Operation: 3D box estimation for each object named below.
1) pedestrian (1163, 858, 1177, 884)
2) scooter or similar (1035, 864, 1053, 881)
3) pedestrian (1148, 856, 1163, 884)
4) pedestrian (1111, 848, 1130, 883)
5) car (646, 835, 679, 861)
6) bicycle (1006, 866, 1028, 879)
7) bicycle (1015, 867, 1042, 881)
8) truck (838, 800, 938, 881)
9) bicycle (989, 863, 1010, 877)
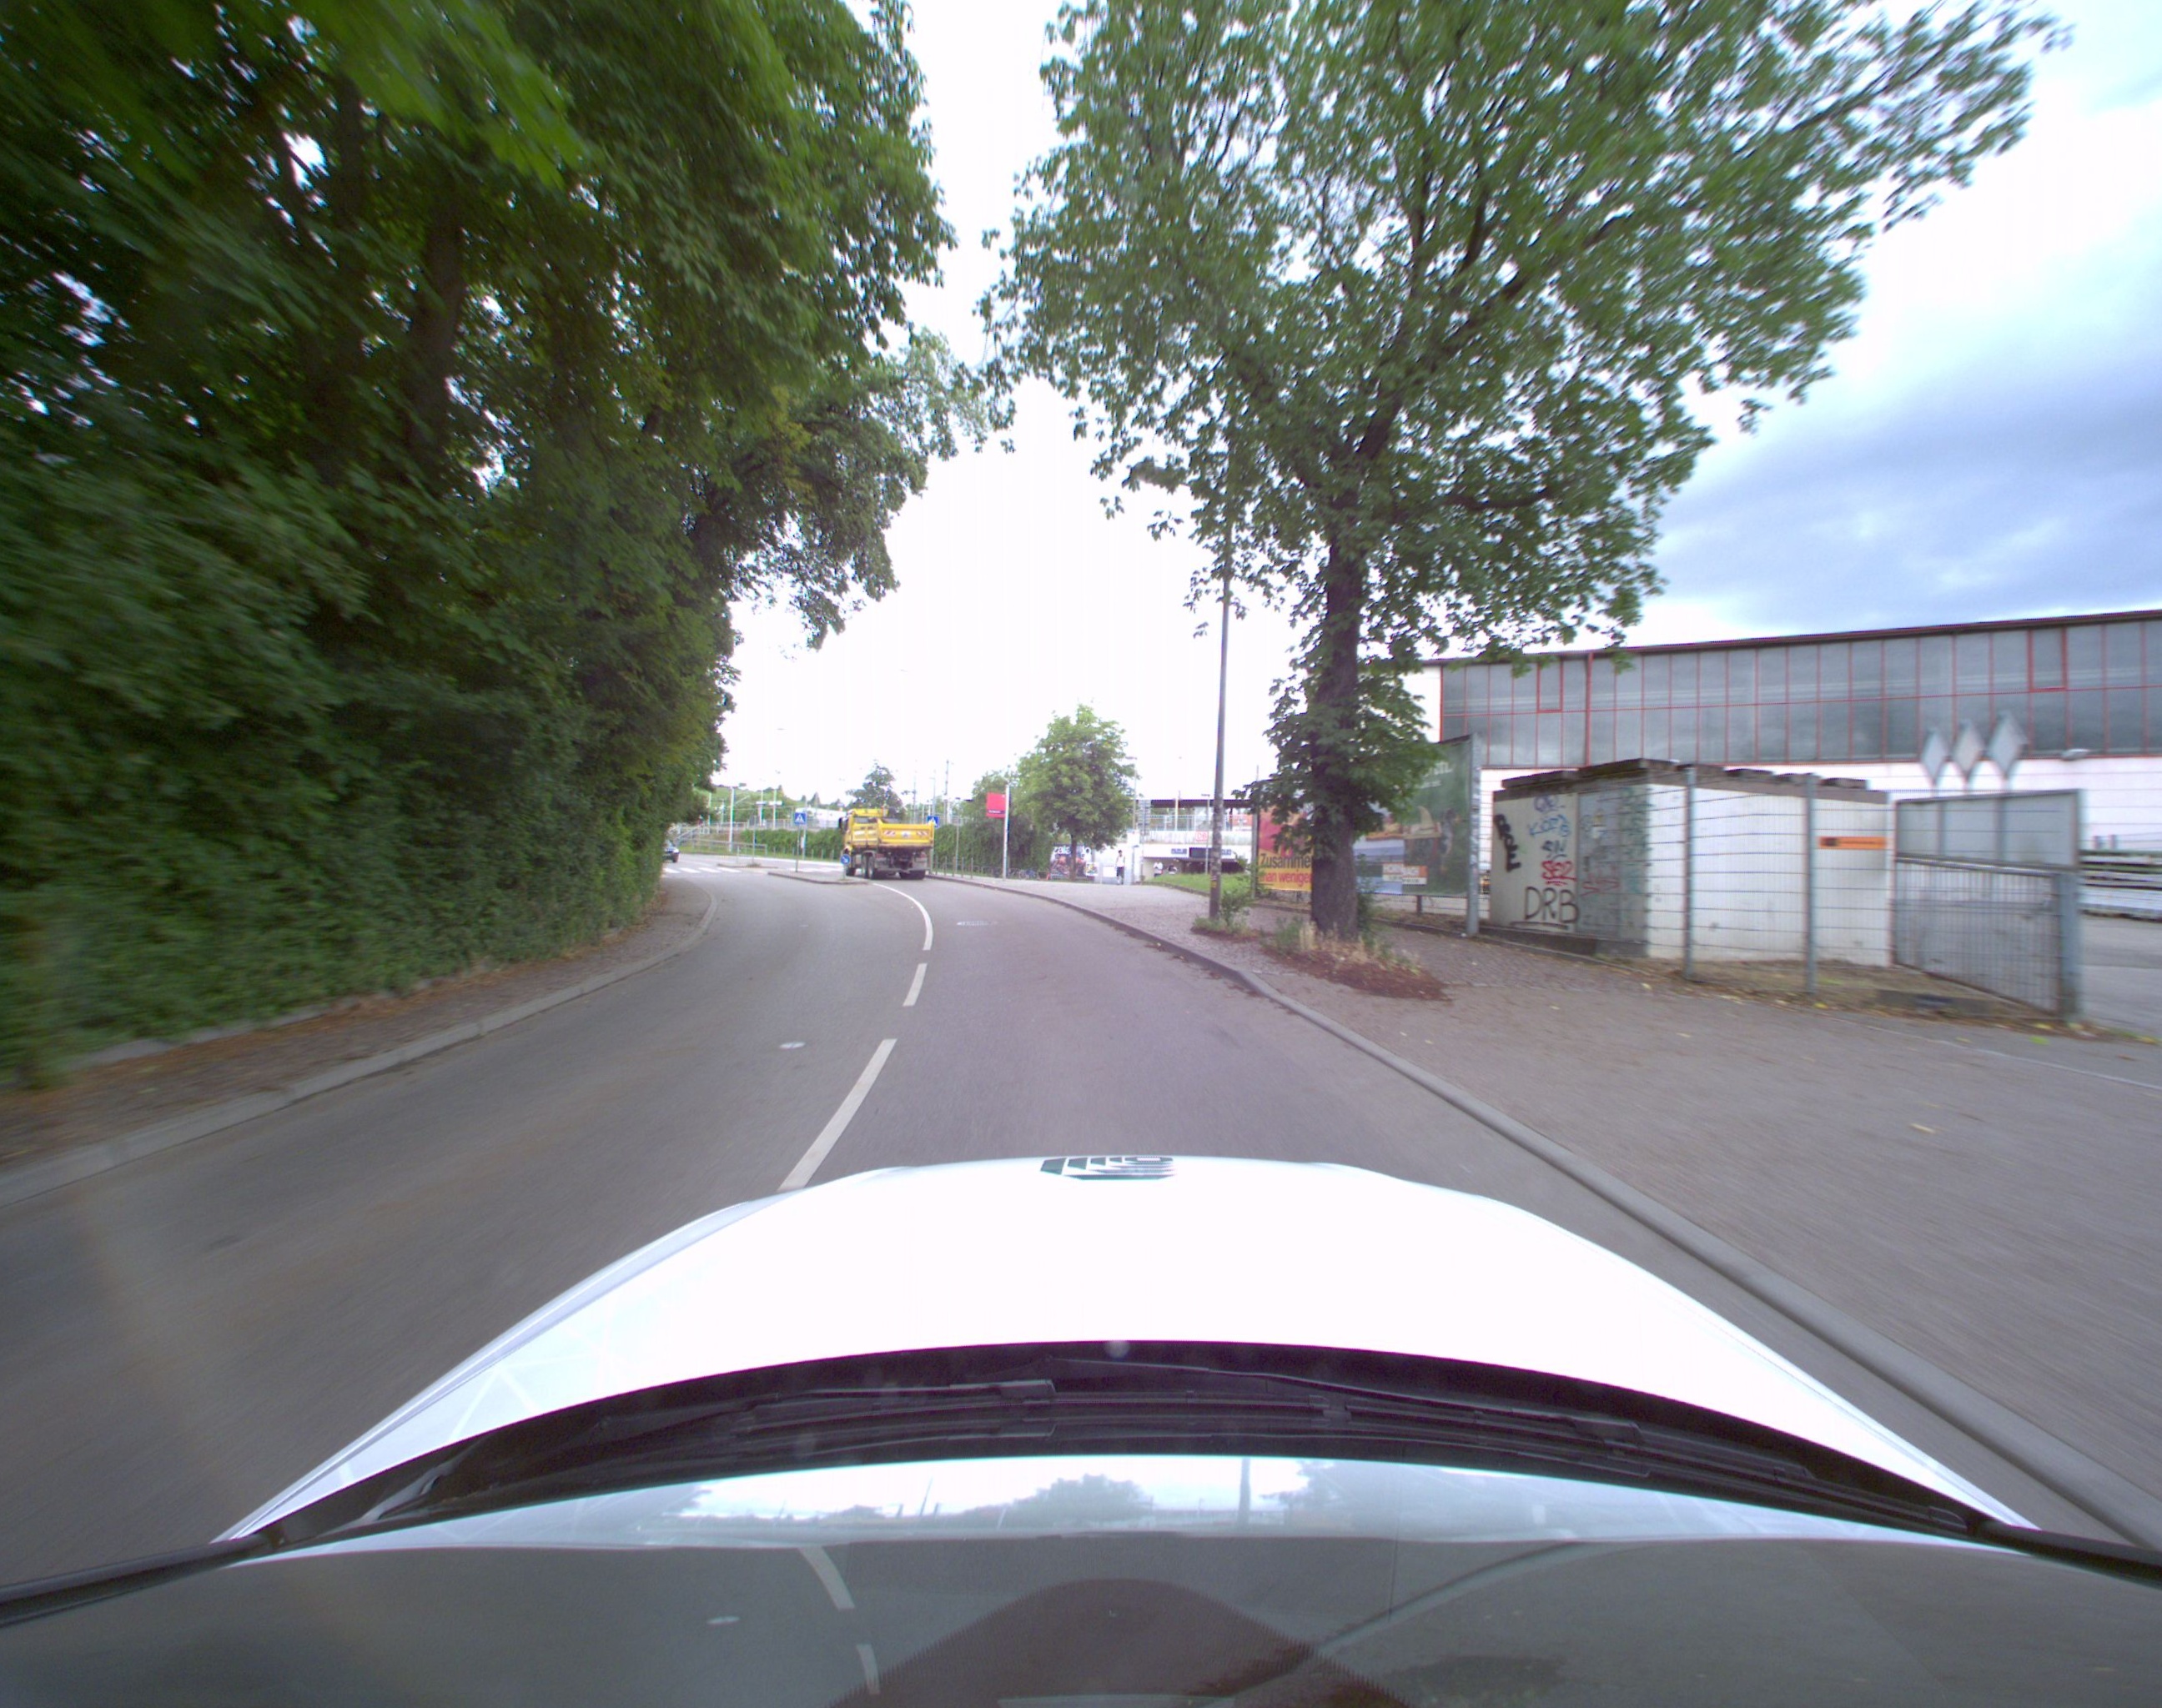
[{"bbox_3d":[5.489,1.060,50.138,0.795,1.583,0.804,1,-2,9],"label":"pedestrian"},{"bbox_3d":[-2.759,1.388,60.780,1.194,1.206,0.464,5,-3,-28],"label":"scooter or similar"},{"bbox_3d":[4.465,0.966,48.939,0.809,1.703,0.750,1,-2,9],"label":"pedestrian"},{"bbox_3d":[1.932,0.583,39.827,0.844,1.684,0.941,0,-2,5],"label":"pedestrian"},{"bbox_3d":[-27.577,-0.413,53.647,1.813,1.610,4.139,-2,1,-28],"label":"car"},{"bbox_3d":[-4.905,1.407,62.260,1.583,0.854,0.459,5,-2,-28],"label":"bicycle"},{"bbox_3d":[-3.954,1.524,61.644,1.978,0.865,0.506,6,-2,-31],"label":"bicycle"},{"bbox_3d":[-9.589,-0.706,39.707,2.780,3.483,8.059,2,1,-27],"label":"truck"},{"bbox_3d":[-6.264,1.240,62.425,1.489,0.989,0.691,4,-1,-13],"label":"bicycle"}]
